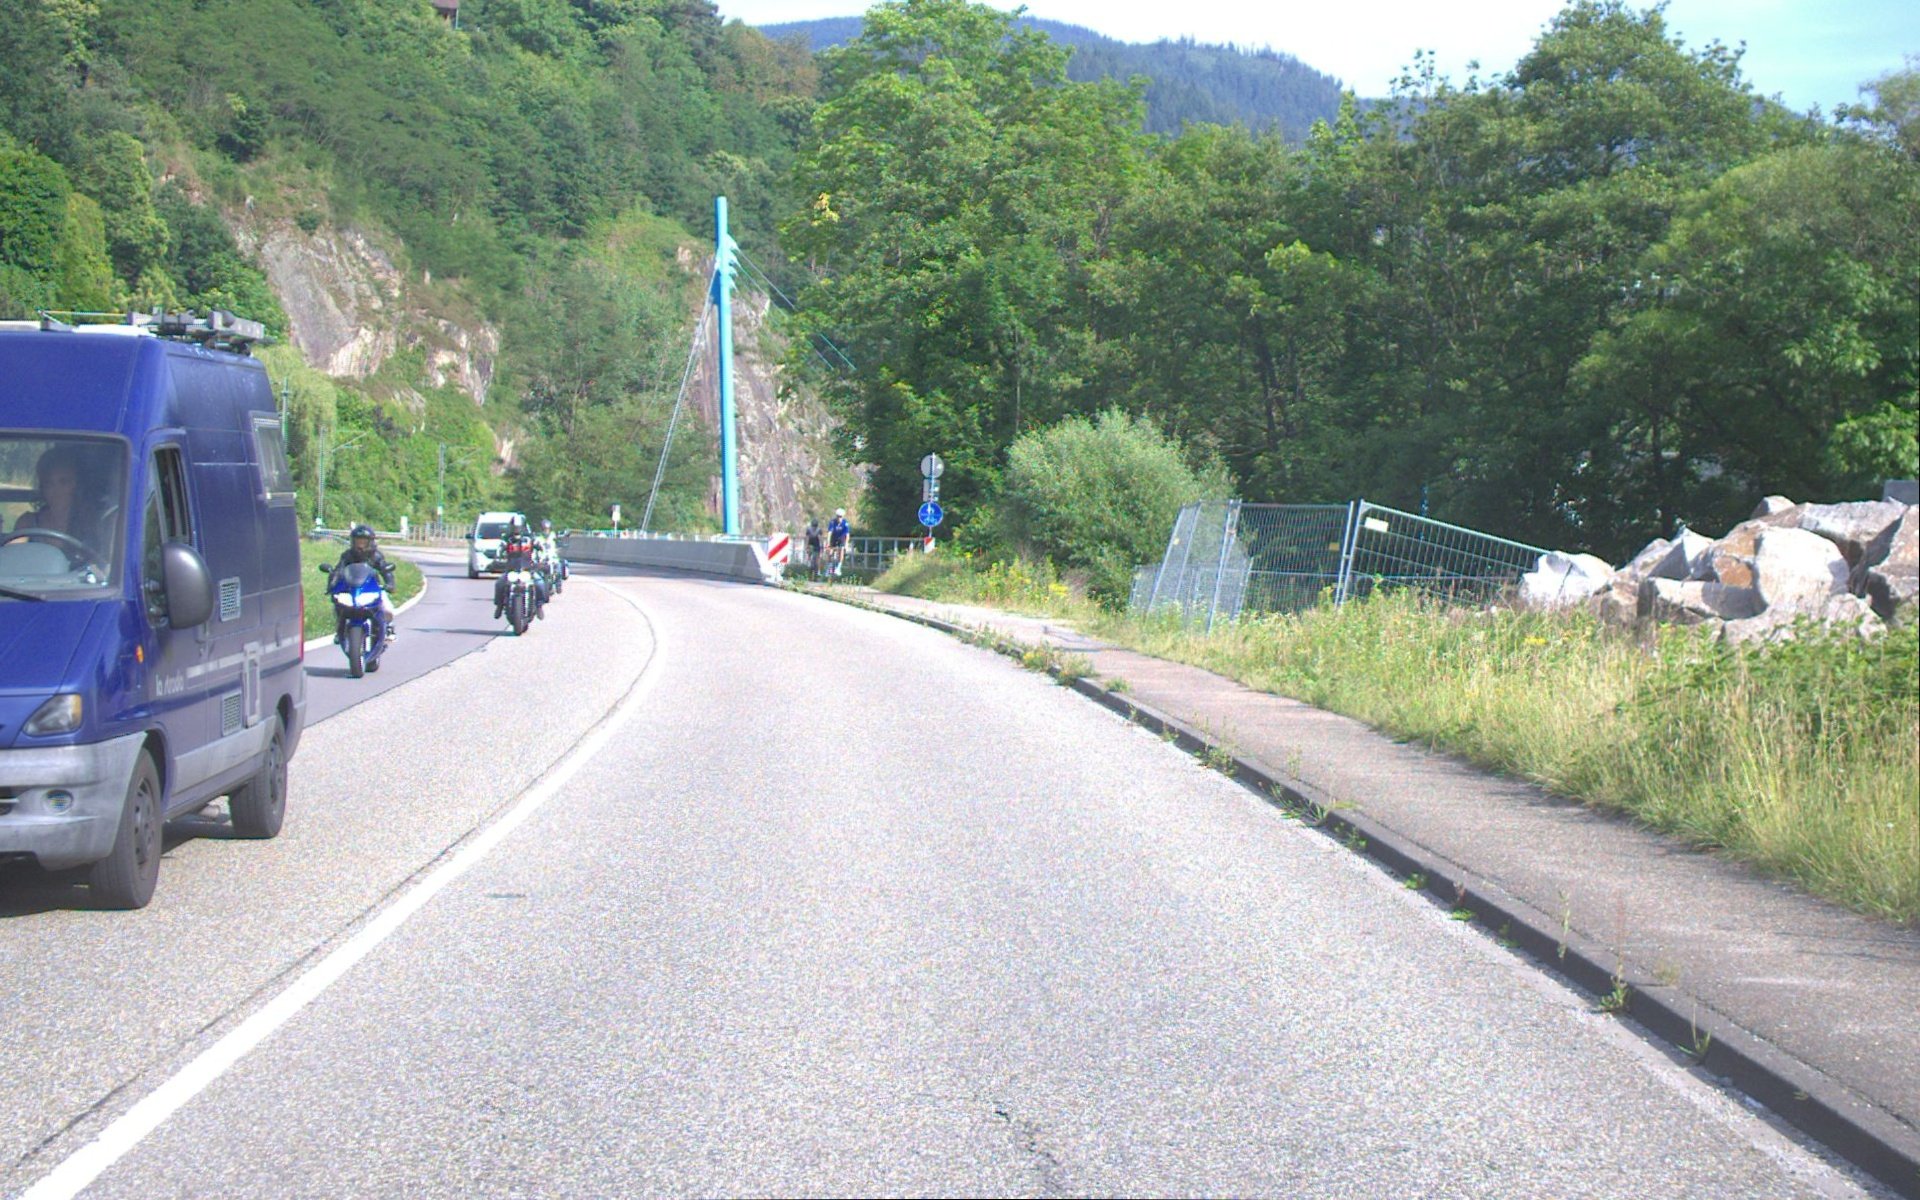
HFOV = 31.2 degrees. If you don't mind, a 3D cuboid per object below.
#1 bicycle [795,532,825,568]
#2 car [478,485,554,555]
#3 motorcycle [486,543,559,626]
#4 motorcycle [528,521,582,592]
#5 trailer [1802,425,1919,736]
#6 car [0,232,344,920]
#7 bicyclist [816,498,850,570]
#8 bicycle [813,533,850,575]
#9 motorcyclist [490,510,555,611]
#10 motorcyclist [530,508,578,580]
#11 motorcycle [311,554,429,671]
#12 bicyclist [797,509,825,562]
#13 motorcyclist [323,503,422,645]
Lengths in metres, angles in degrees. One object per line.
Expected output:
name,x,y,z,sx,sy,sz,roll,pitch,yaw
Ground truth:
bicycle,-4.083,-1.356,93.657,0.600,0.913,1.848,4,1,-8
car,-12.073,-2.192,93.333,1.869,1.775,4.601,2,2,-9
motorcycle,-6.287,-0.231,49.475,0.862,1.126,2.126,1,2,-2
motorcycle,-8.126,-0.882,69.047,0.862,1.378,2.404,1,2,-2
trailer,14.978,-0.189,46.453,3.364,4.259,9.911,3,0,-8
car,-4.287,-0.146,15.748,2.126,2.606,5.480,0,1,-2
bicyclist,-3.000,-1.560,81.096,0.641,1.648,0.809,4,1,-7
bicycle,-3.034,-1.089,81.088,0.648,0.939,1.848,4,1,-8
motorcyclist,-6.281,-0.575,49.398,0.843,1.418,0.964,1,2,-3
motorcyclist,-8.127,-1.131,68.915,0.858,1.418,0.964,1,2,-2
motorcycle,-6.063,0.112,35.418,0.862,1.126,1.969,1,2,0
bicyclist,-4.061,-1.755,93.674,0.592,1.396,0.762,4,1,-8
motorcyclist,-6.058,-0.277,35.473,0.843,1.418,0.964,1,2,0
